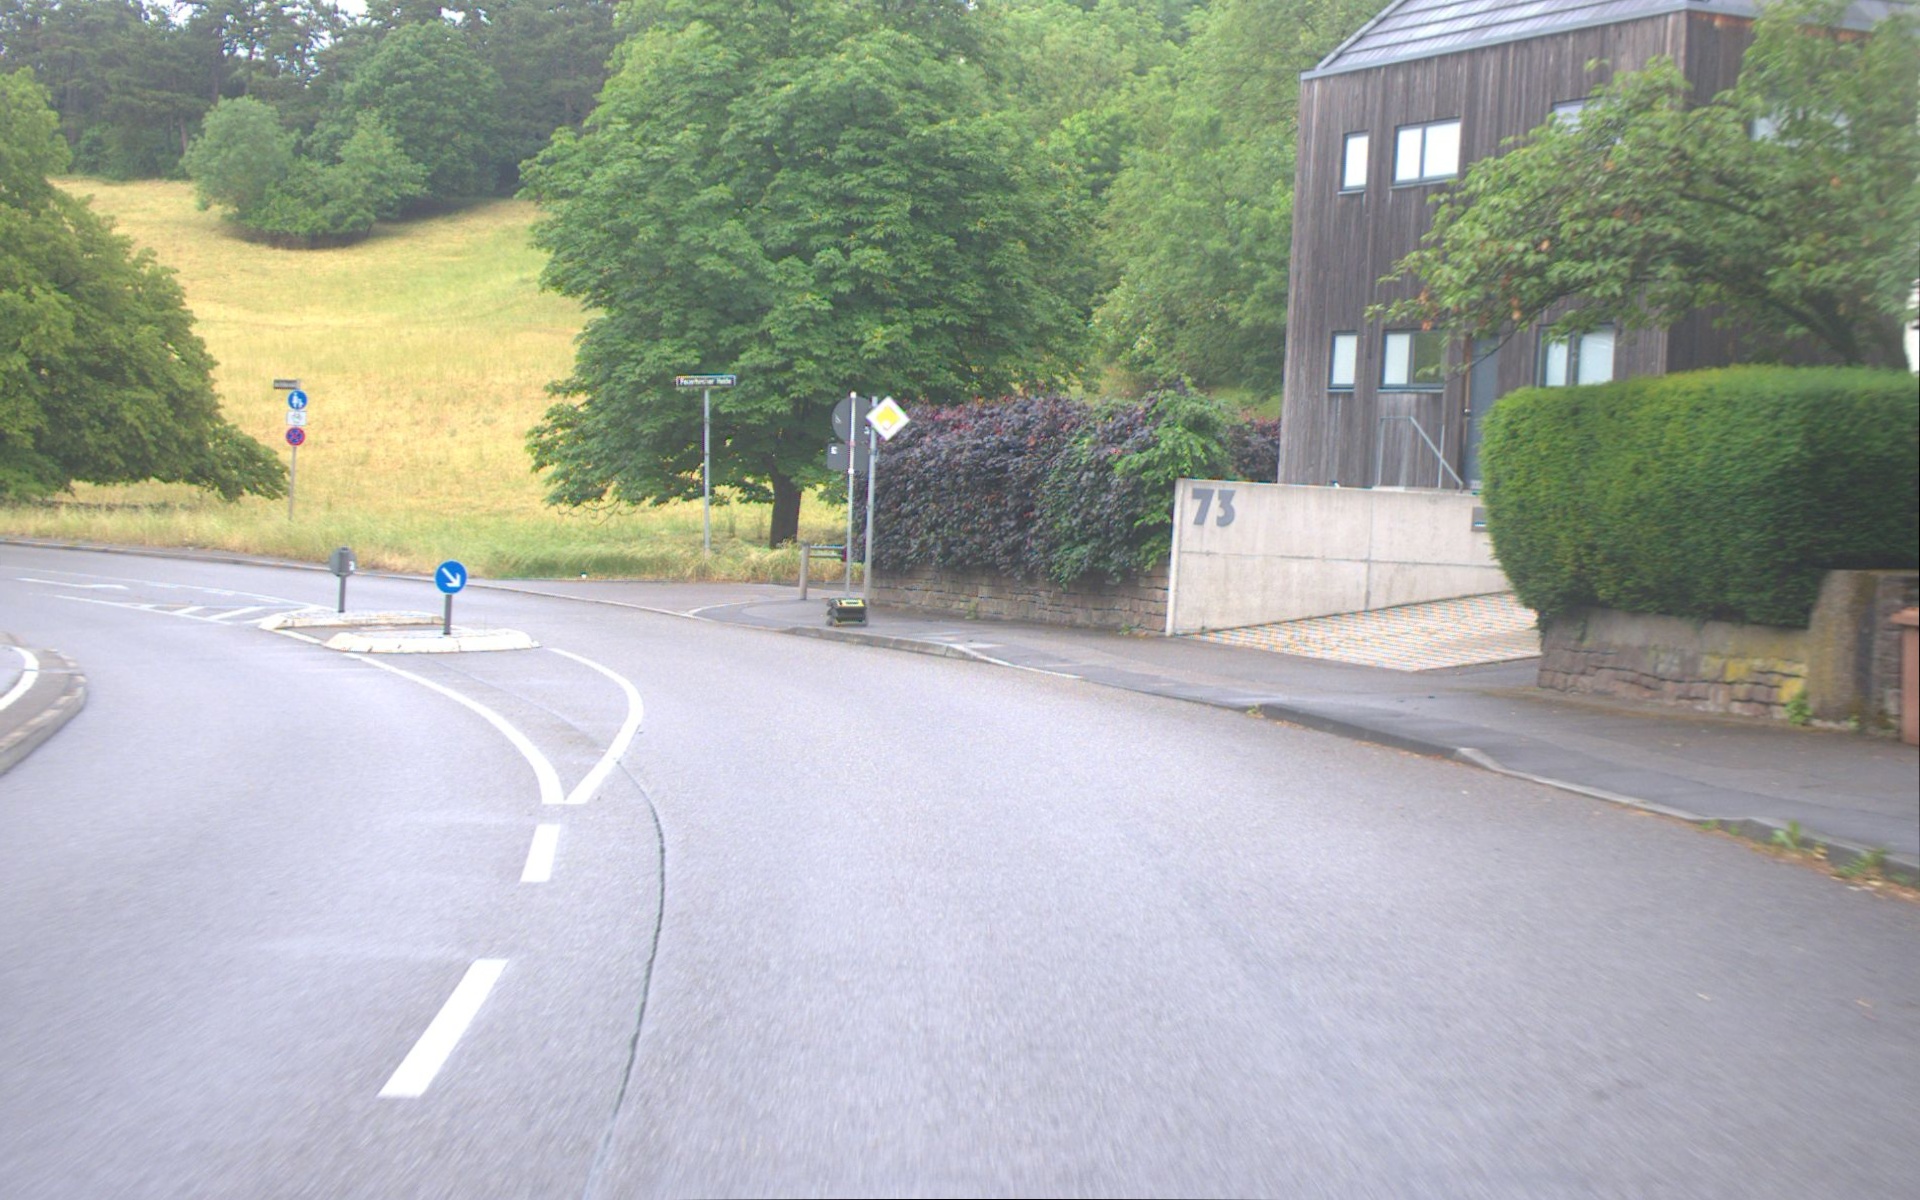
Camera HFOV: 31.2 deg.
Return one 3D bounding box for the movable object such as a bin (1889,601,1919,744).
[{"bbox_3d":[6.420,0.474,22.592,0.418,0.917,0.463,1,1,-11],"label":"movable object such as a bin"}]
